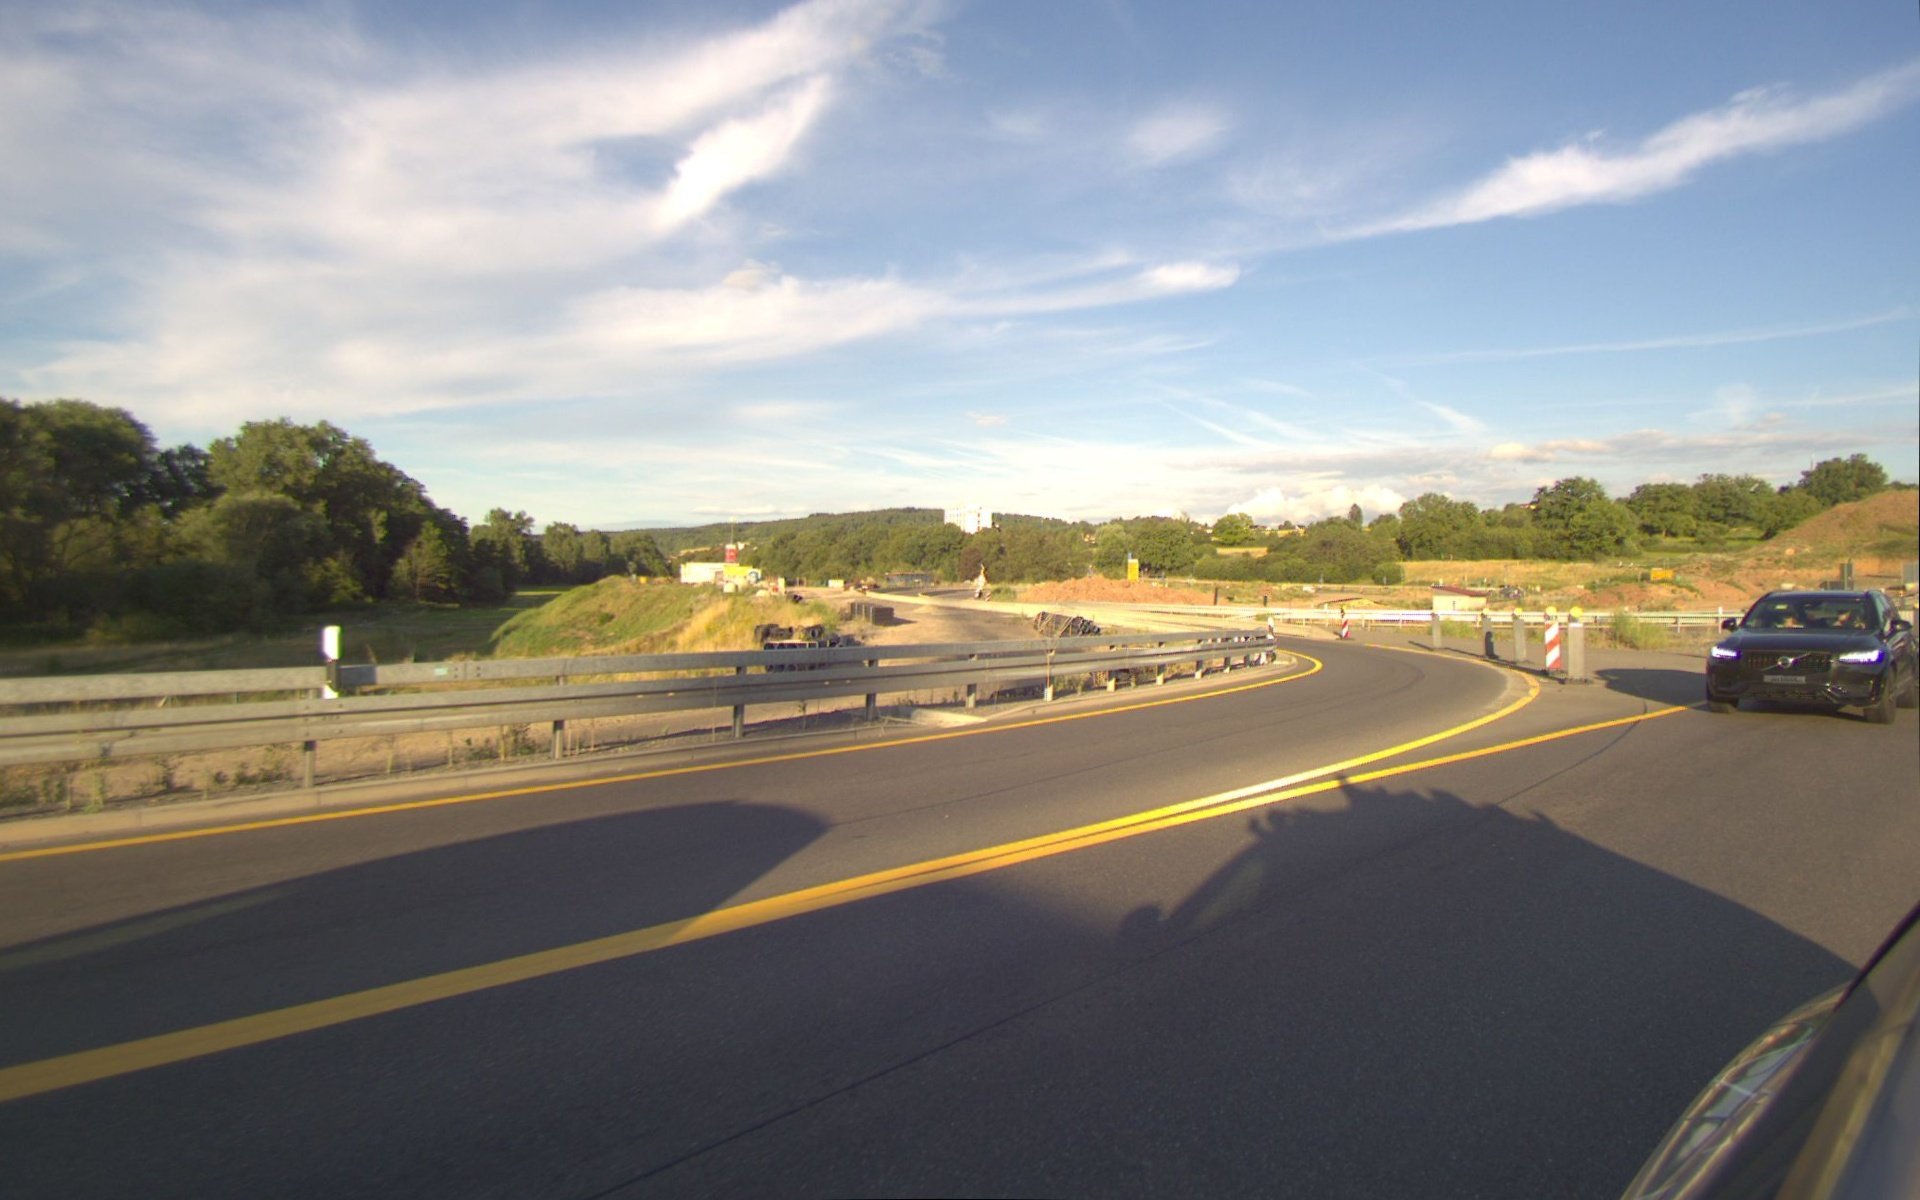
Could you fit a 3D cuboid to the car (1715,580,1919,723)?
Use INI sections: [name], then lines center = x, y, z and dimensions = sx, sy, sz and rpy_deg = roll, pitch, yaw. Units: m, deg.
[car]
center = 12.599, 0.601, 14.582
dimensions = 4.804, 1.734, 1.900
rpy_deg = -1, 0, -42
